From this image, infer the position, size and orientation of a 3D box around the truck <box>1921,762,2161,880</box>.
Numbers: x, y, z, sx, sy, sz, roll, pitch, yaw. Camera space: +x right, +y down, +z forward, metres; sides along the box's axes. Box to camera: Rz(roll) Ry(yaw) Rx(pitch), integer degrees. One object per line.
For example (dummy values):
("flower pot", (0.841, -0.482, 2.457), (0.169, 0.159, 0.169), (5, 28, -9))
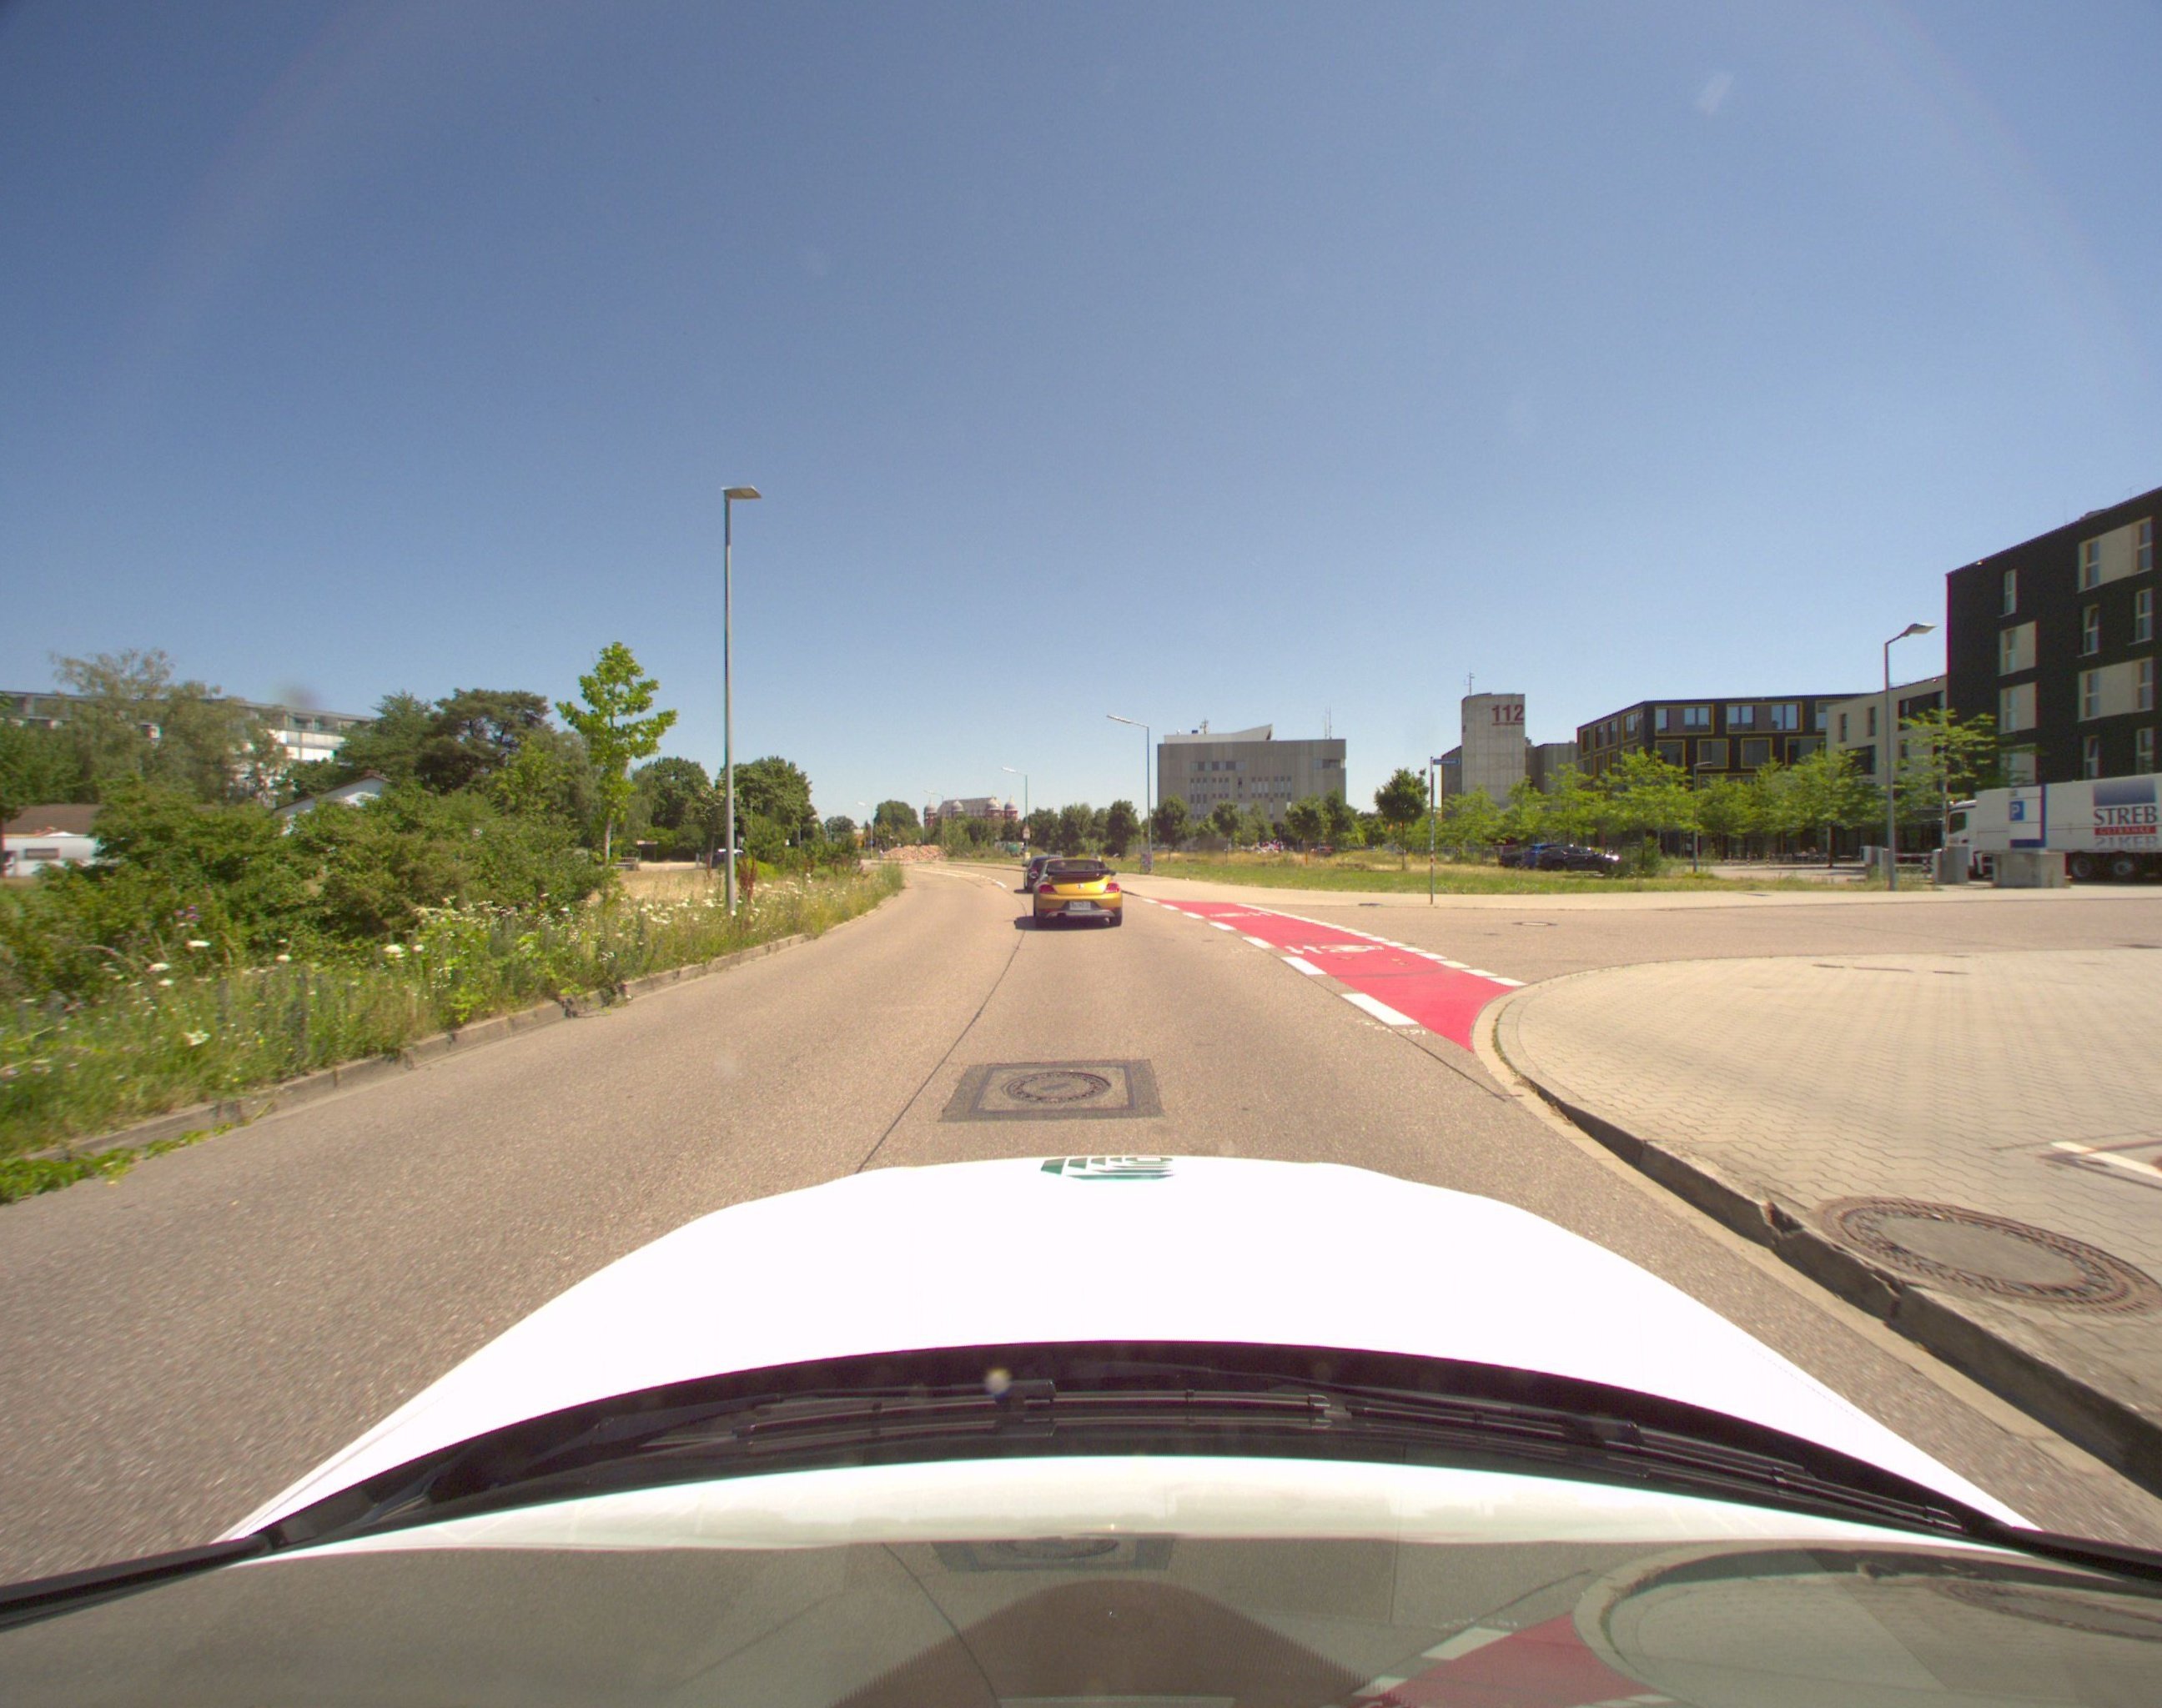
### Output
("truck", (33.971, -1.055, 26.646), (2.987, 3.461, 12.186), (-2, 0, 14))

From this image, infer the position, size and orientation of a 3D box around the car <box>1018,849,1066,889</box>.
("car", (-1.459, 0.534, 31.661), (1.722, 1.443, 3.998), (0, 0, -1))

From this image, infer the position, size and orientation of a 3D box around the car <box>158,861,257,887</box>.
("car", (-57.737, 1.295, 53.946), (4.007, 1.552, 1.899), (-1, 0, -26))

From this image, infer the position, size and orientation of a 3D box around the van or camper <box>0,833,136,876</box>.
("van or camper", (-63.682, -0.004, 50.564), (5.986, 2.593, 2.449), (-1, 0, -30))

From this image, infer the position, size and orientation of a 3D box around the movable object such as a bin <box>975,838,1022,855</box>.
("movable object such as a bin", (-16.078, -1.382, 157.877), (4.971, 3.260, 10.366), (0, 0, -31))

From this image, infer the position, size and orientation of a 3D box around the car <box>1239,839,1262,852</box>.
("car", (29.457, -1.443, 141.532), (3.816, 2.294, 1.749), (0, 0, 13))

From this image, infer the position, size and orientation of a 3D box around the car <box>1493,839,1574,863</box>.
("car", (28.955, -0.196, 52.208), (4.091, 1.444, 1.966), (0, 0, 6))

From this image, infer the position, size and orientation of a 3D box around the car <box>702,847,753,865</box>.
("car", (-37.144, 0.164, 85.670), (4.841, 1.840, 1.986), (-1, 0, -22))

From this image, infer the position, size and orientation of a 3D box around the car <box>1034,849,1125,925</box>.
("car", (-0.120, 0.636, 17.829), (1.786, 1.436, 3.809), (0, 1, -3))

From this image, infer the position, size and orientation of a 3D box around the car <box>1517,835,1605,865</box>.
("car", (27.820, -0.232, 47.331), (4.031, 1.652, 1.961), (0, 0, 12))

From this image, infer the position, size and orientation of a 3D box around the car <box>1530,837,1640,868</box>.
("car", (26.433, -0.097, 42.863), (4.464, 1.562, 2.038), (0, 0, 11))
